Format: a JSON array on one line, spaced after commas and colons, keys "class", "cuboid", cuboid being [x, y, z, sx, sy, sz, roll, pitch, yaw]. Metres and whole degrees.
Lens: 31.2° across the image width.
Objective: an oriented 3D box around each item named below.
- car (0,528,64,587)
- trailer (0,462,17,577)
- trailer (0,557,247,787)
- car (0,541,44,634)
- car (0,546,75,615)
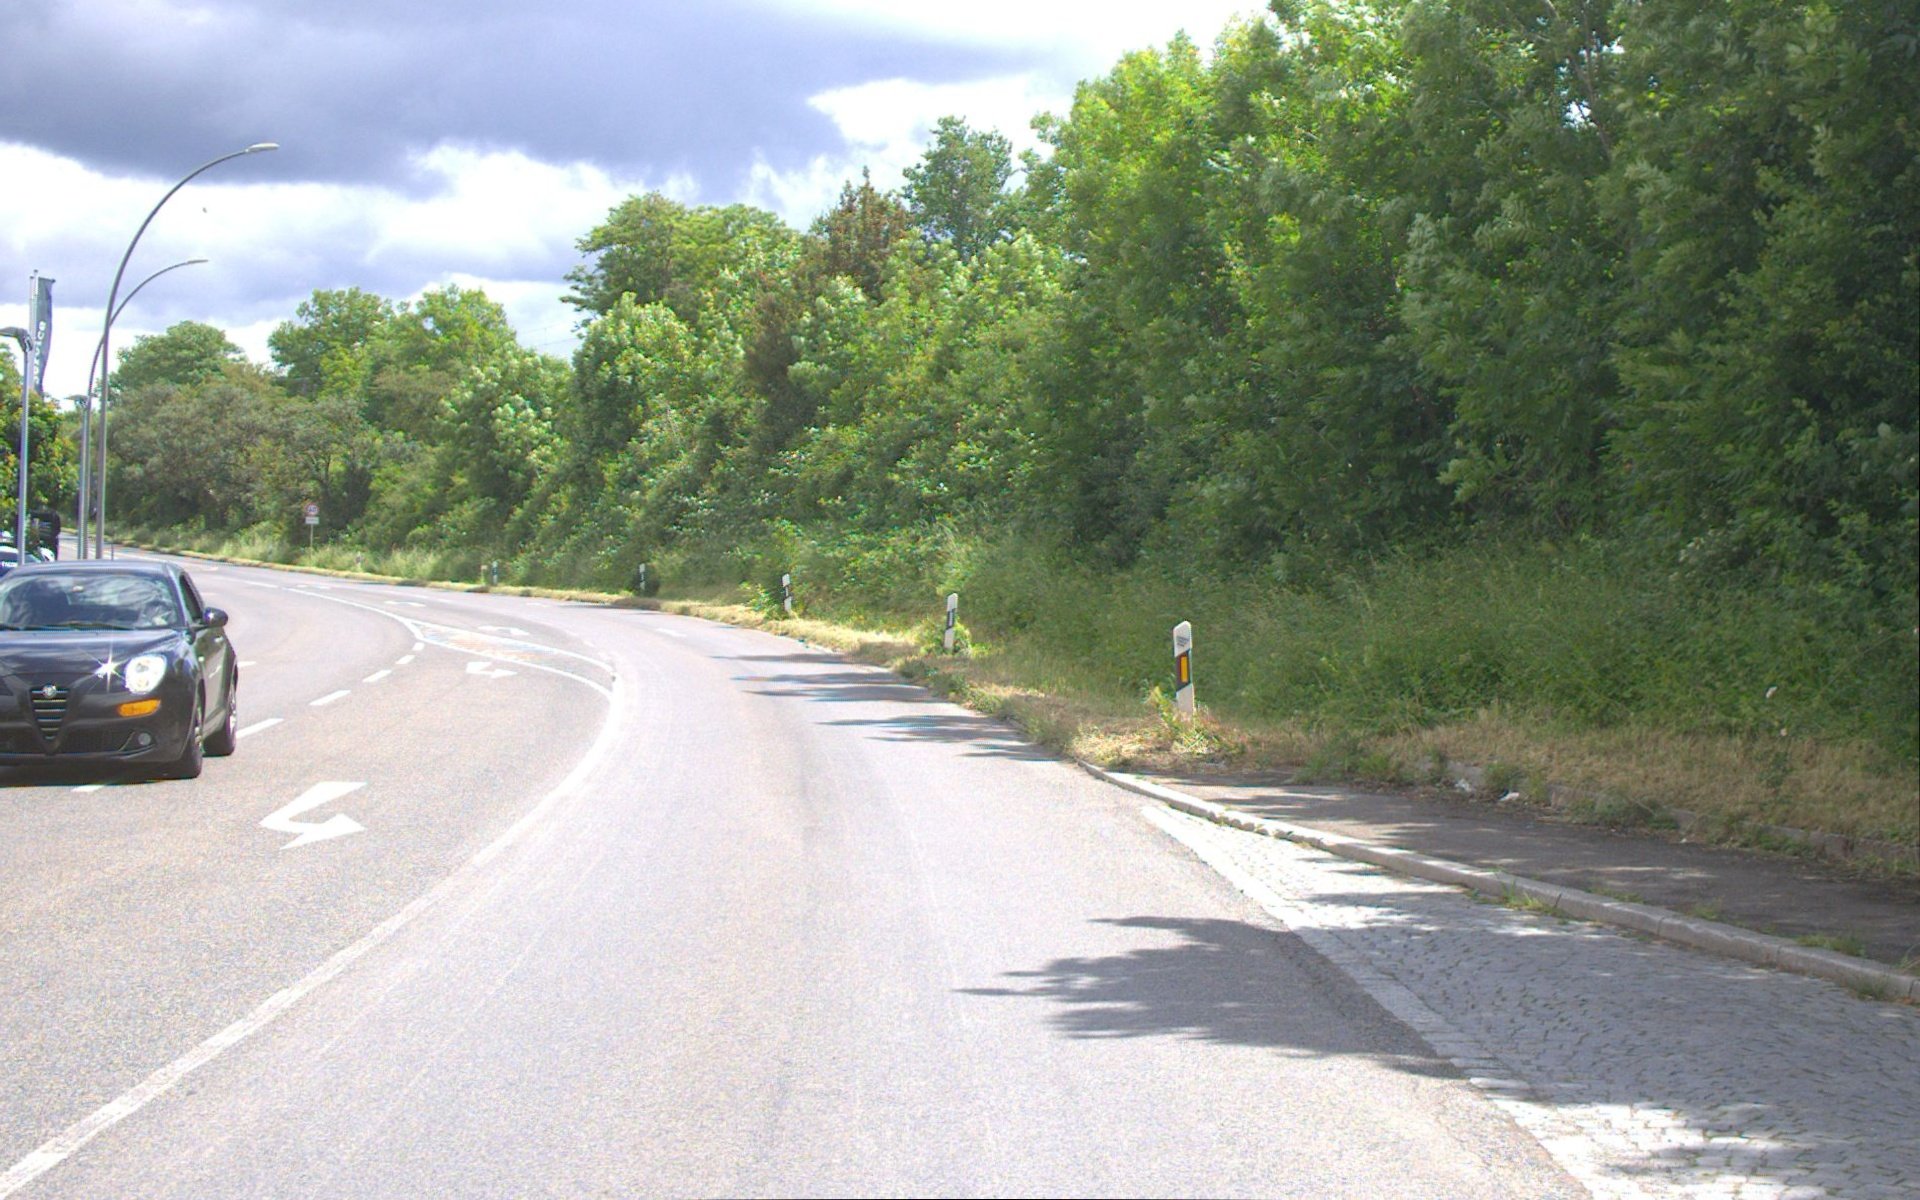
[{"class": "car", "cuboid": [-30.153, -1.349, 106.189, 1.999, 1.757, 4.303, 2, 1, 44]}, {"class": "trailer", "cuboid": [-38.502, -2.840, 121.255, 9.721, 4.079, 2.826, -1, 2, -31]}, {"class": "trailer", "cuboid": [-5.900, 0.431, 23.637, 1.647, 1.418, 4.001, 0, 1, -7]}, {"class": "car", "cuboid": [-19.226, -0.301, 63.305, 3.978, 1.695, 2.171, 2, 0, 20]}, {"class": "car", "cuboid": [-21.860, -0.485, 75.834, 4.195, 1.474, 1.794, 2, 0, 20]}]
